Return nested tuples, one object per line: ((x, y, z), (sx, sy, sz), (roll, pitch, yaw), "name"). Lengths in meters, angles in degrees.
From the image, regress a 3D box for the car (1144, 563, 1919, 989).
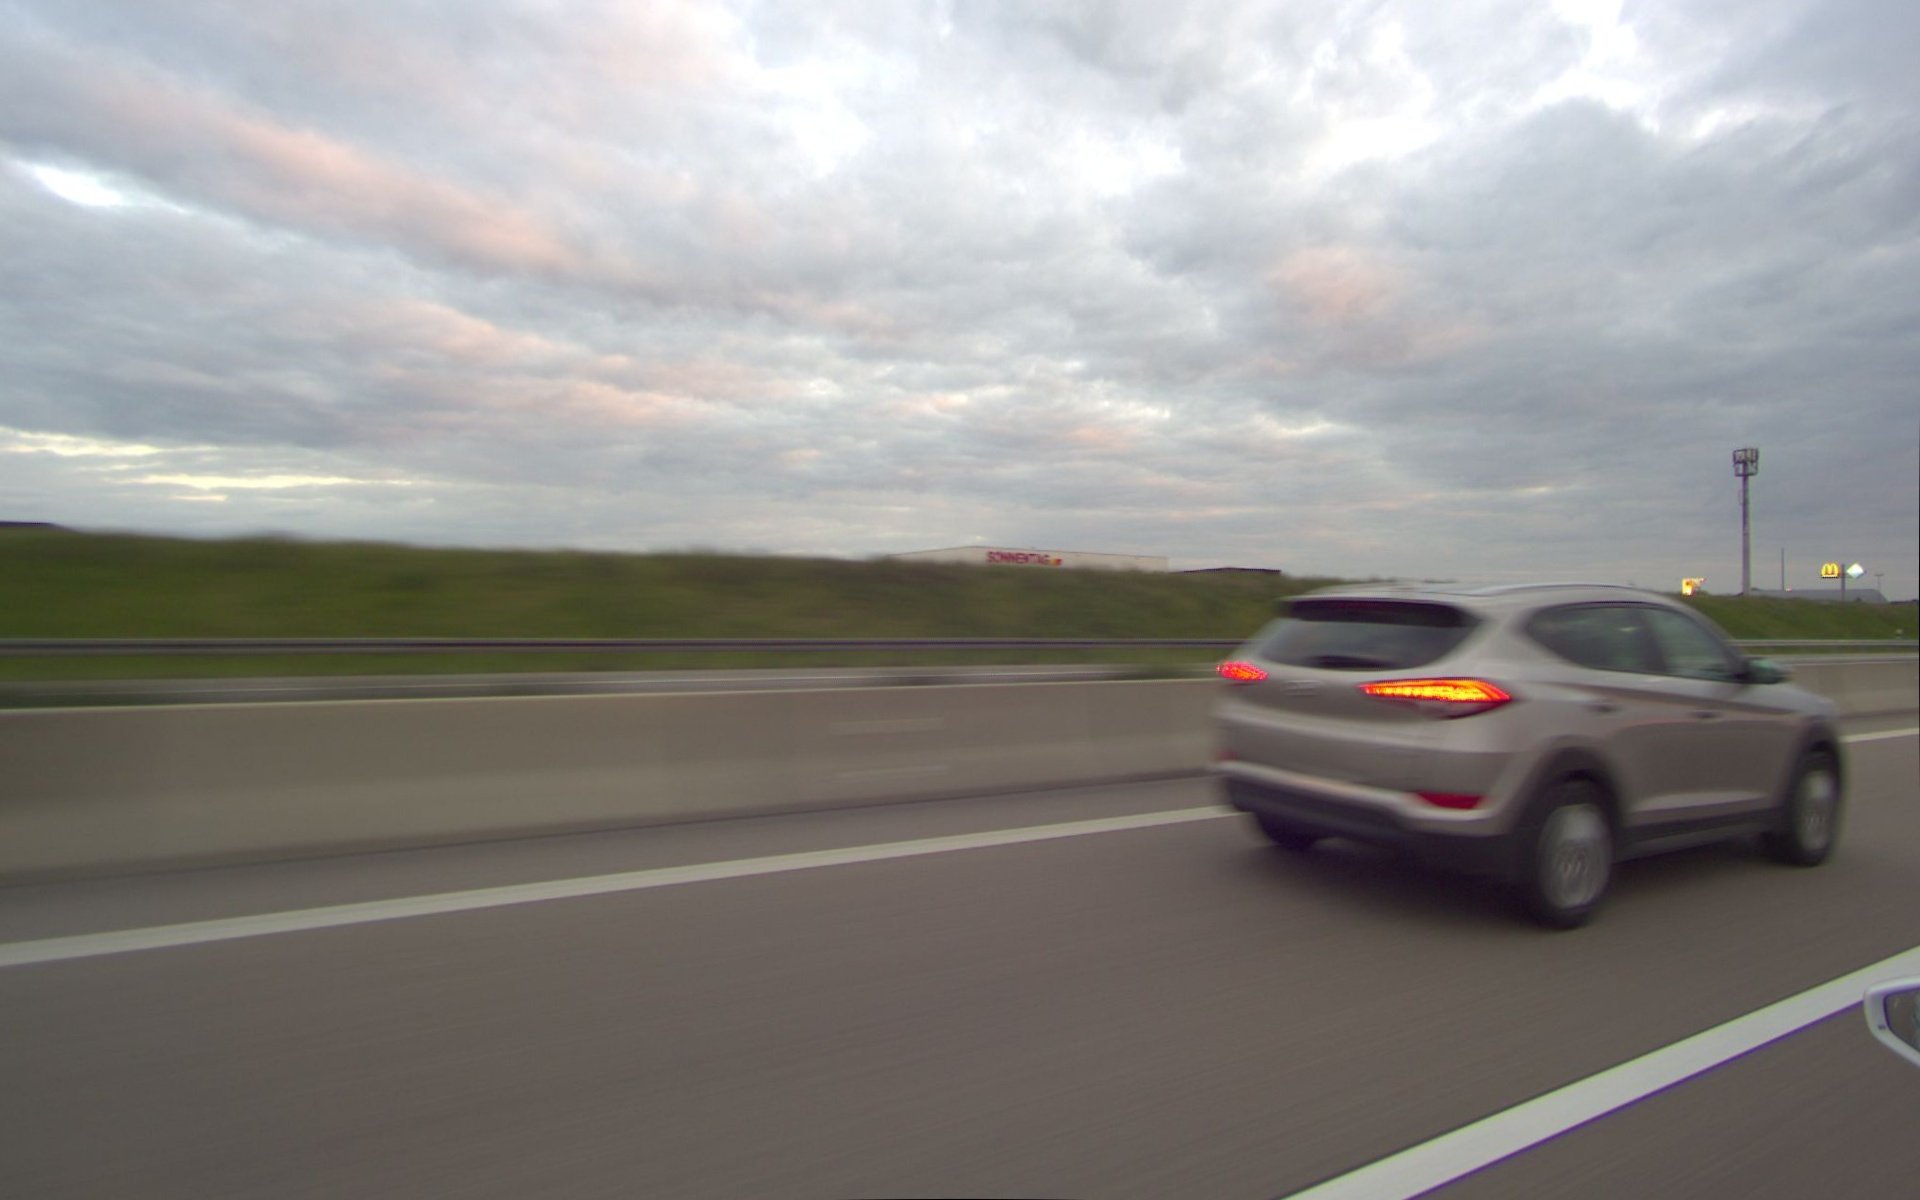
((3.854, 0.772, 6.217), (5.447, 1.715, 1.844), (1, -1, -30), "car")
